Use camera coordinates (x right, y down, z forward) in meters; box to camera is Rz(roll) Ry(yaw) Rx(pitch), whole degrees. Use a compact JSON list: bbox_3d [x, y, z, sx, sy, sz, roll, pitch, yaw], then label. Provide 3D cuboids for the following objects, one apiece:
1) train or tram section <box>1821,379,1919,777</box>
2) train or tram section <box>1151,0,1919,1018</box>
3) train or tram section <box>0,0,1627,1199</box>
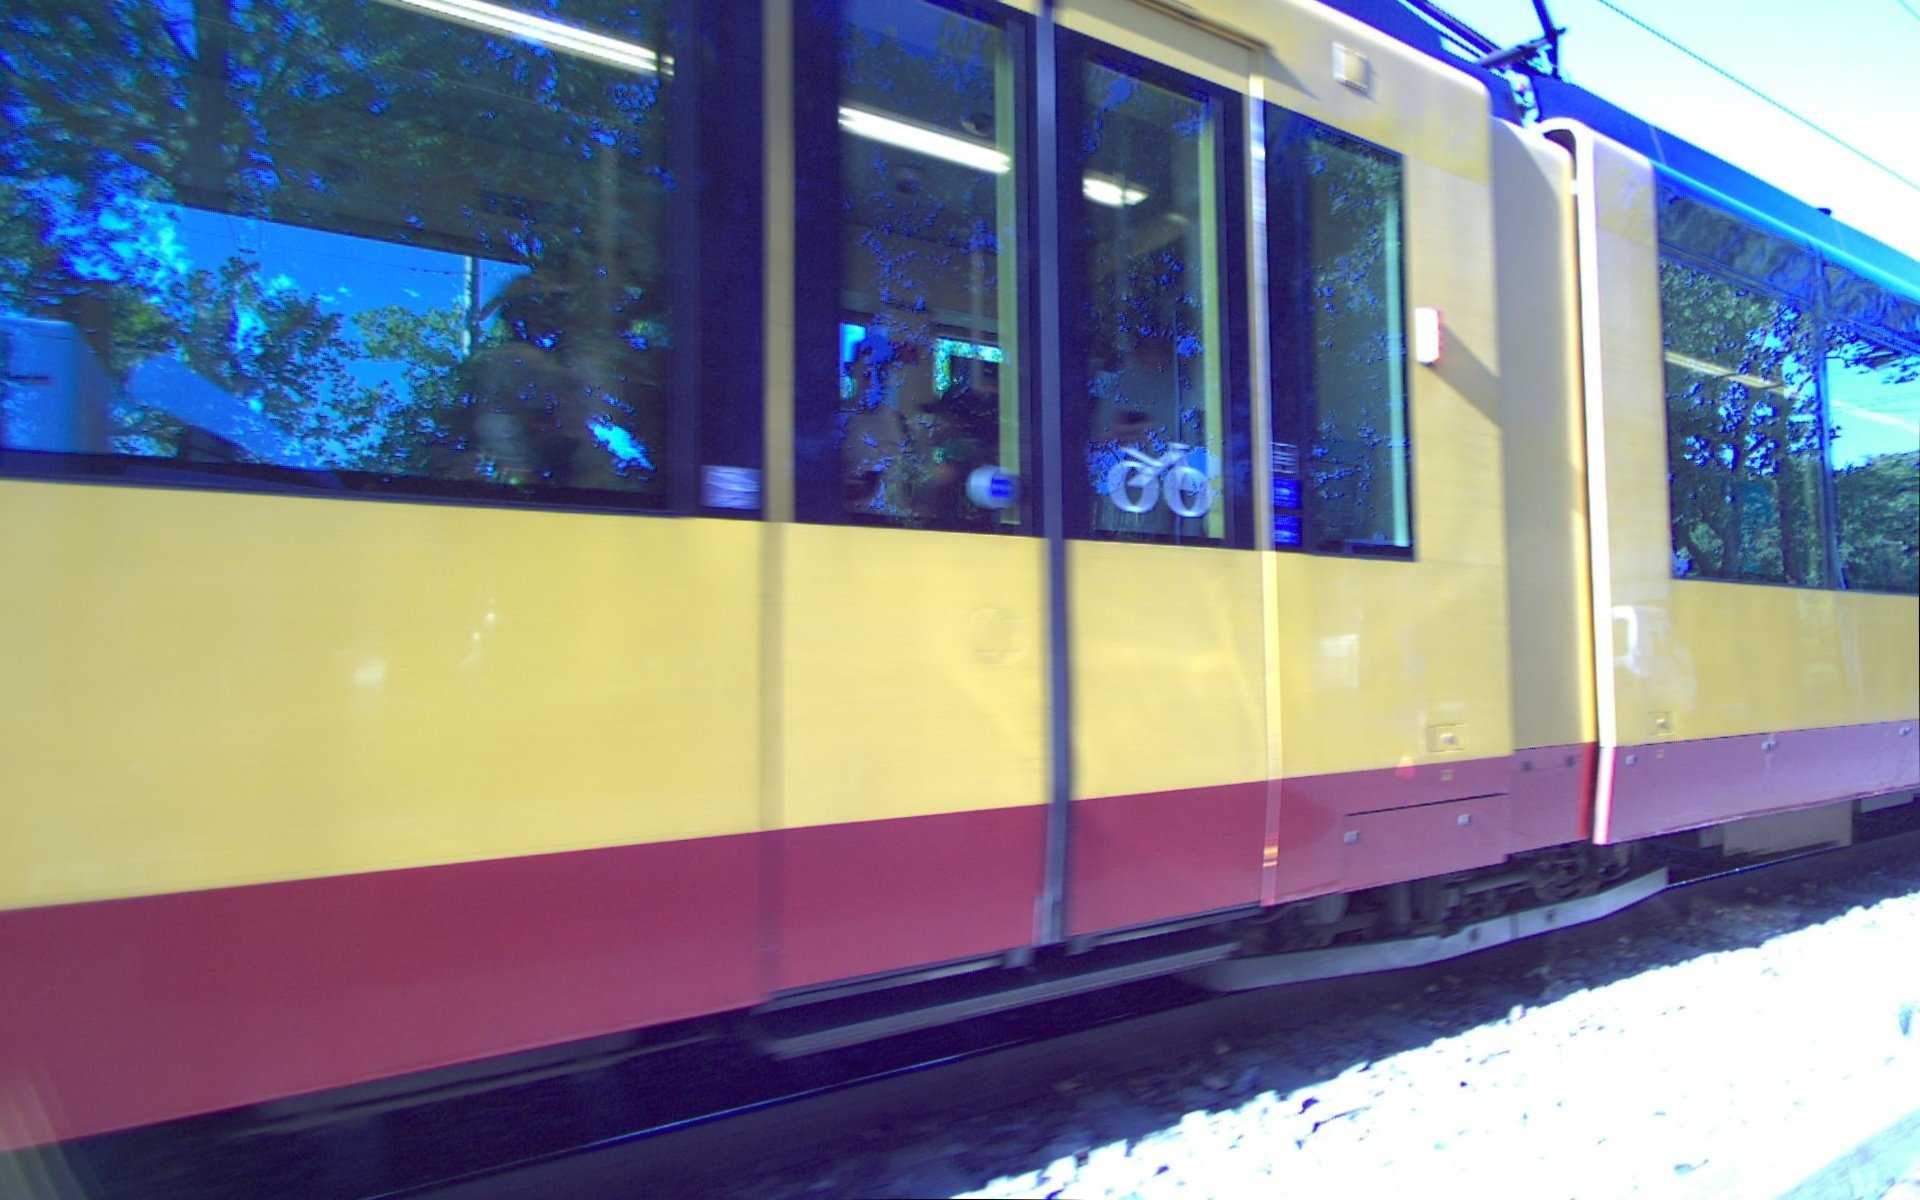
[{"bbox_3d":[15.715,-0.136,13.152,12.662,4.142,2.707,1,-2,-30],"label":"train or tram section"},{"bbox_3d":[6.060,-0.371,7.462,9.794,4.142,2.682,1,-2,-30],"label":"train or tram section"},{"bbox_3d":[-3.940,-0.495,1.553,13.457,4.144,2.708,1,-2,-31],"label":"train or tram section"}]
